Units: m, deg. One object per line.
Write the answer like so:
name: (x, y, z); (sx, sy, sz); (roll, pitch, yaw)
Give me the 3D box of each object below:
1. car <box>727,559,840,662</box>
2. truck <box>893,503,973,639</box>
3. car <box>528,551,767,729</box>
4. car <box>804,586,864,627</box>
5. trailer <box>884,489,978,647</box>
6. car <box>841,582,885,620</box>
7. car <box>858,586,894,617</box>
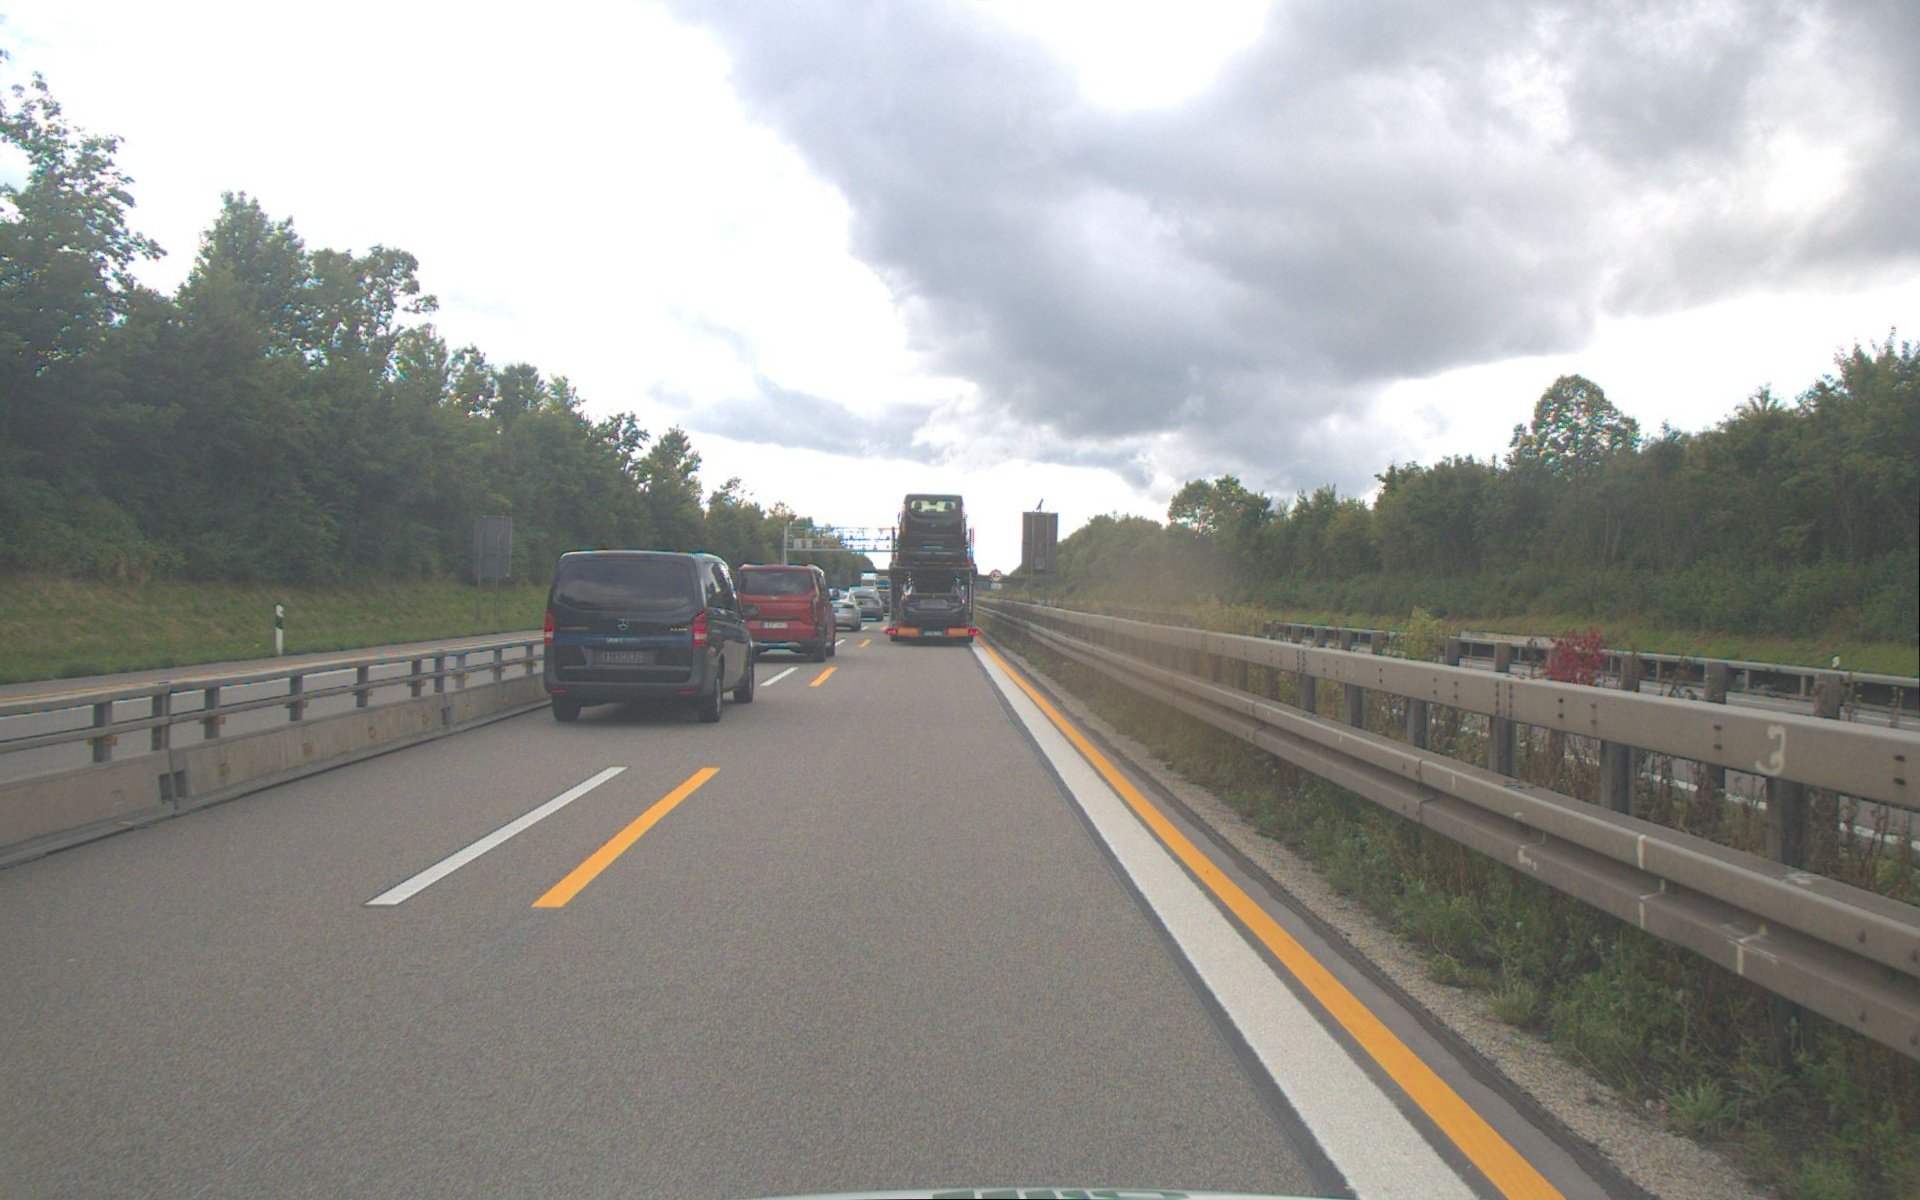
car: (-3.702, 0.201, 35.425); (1.990, 2.049, 4.577); (0, 0, -1)
truck: (-0.855, -0.916, 54.289); (2.464, 4.177, 5.684); (1, 0, -1)
car: (-3.612, 0.402, 20.204); (1.953, 1.875, 5.608); (0, 0, -1)
car: (-4.543, 0.216, 60.178); (1.990, 1.455, 4.576); (0, 0, -2)
trailer: (-0.817, -0.878, 49.619); (2.464, 4.177, 11.112); (1, 0, 0)
car: (-4.640, 0.018, 79.783); (1.990, 1.788, 4.576); (0, 0, -2)
car: (-4.904, 0.055, 97.004); (1.990, 1.788, 4.576); (0, 0, -2)
